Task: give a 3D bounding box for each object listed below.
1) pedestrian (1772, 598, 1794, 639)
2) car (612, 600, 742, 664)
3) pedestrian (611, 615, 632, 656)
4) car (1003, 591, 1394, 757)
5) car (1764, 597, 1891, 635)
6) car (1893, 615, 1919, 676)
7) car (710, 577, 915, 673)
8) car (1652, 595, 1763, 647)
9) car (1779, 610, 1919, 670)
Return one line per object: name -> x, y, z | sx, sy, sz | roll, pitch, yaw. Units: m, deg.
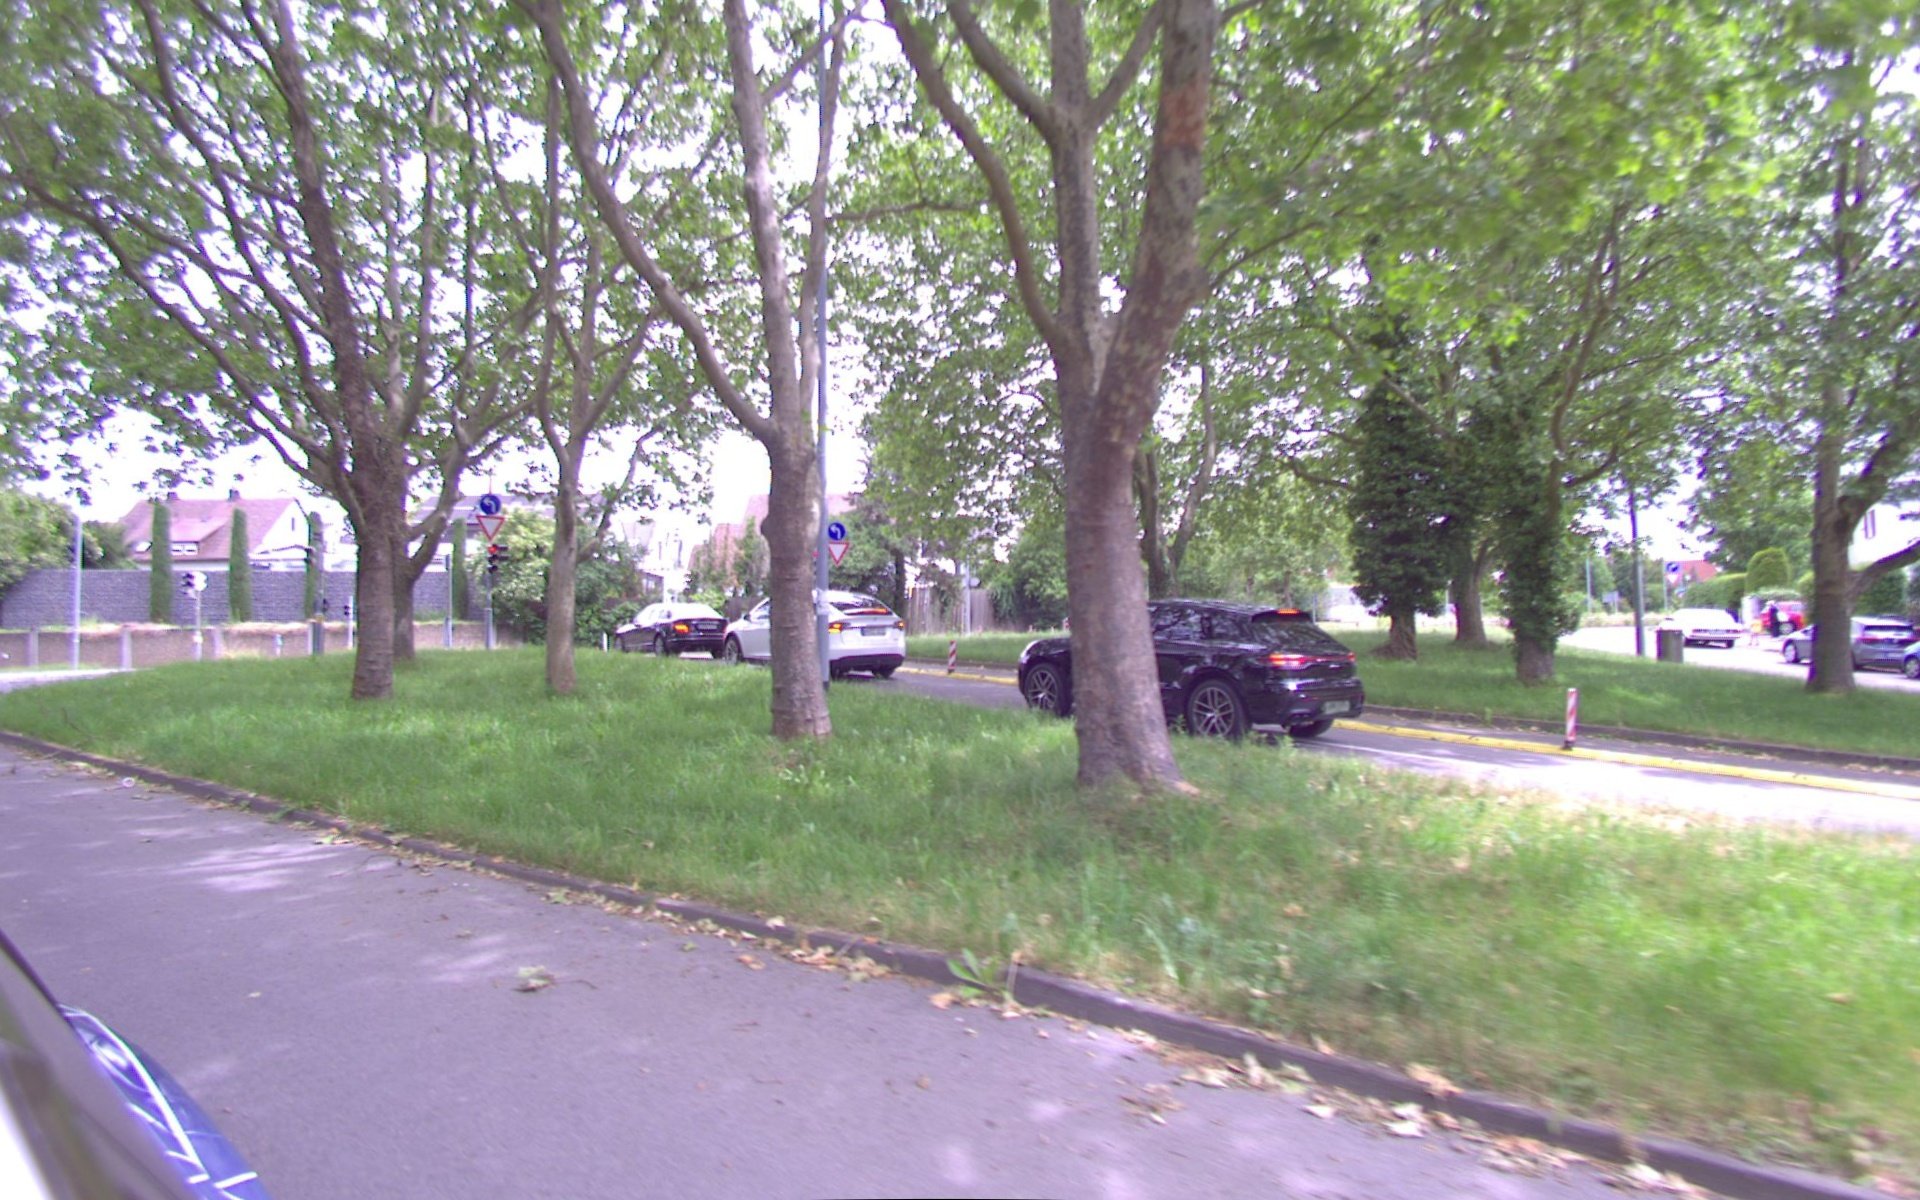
pedestrian -> 32.525, 0.732, 39.999 | 0.571, 1.576, 0.634 | -4, -4, 41
car -> -7.388, 0.785, 26.156 | 1.734, 1.529, 4.396 | 1, -1, -38
pedestrian -> -17.275, 1.819, 51.707 | 0.840, 2.029, 0.955 | 0, -3, -28
car -> 2.697, 0.730, 12.485 | 1.734, 1.603, 4.623 | 1, 1, -38
car -> 36.754, 0.681, 43.005 | 3.809, 1.529, 1.593 | 0, -1, 30
car -> 25.785, 1.184, 25.222 | 1.761, 1.566, 3.771 | -2, 0, 6
car -> -3.066, 0.559, 20.076 | 1.827, 1.671, 4.916 | 0, -3, -38
car -> 29.487, 0.781, 40.110 | 2.200, 1.804, 4.850 | -2, 0, 20
car -> 26.424, 1.131, 29.897 | 1.643, 1.525, 3.985 | -2, 0, 9
